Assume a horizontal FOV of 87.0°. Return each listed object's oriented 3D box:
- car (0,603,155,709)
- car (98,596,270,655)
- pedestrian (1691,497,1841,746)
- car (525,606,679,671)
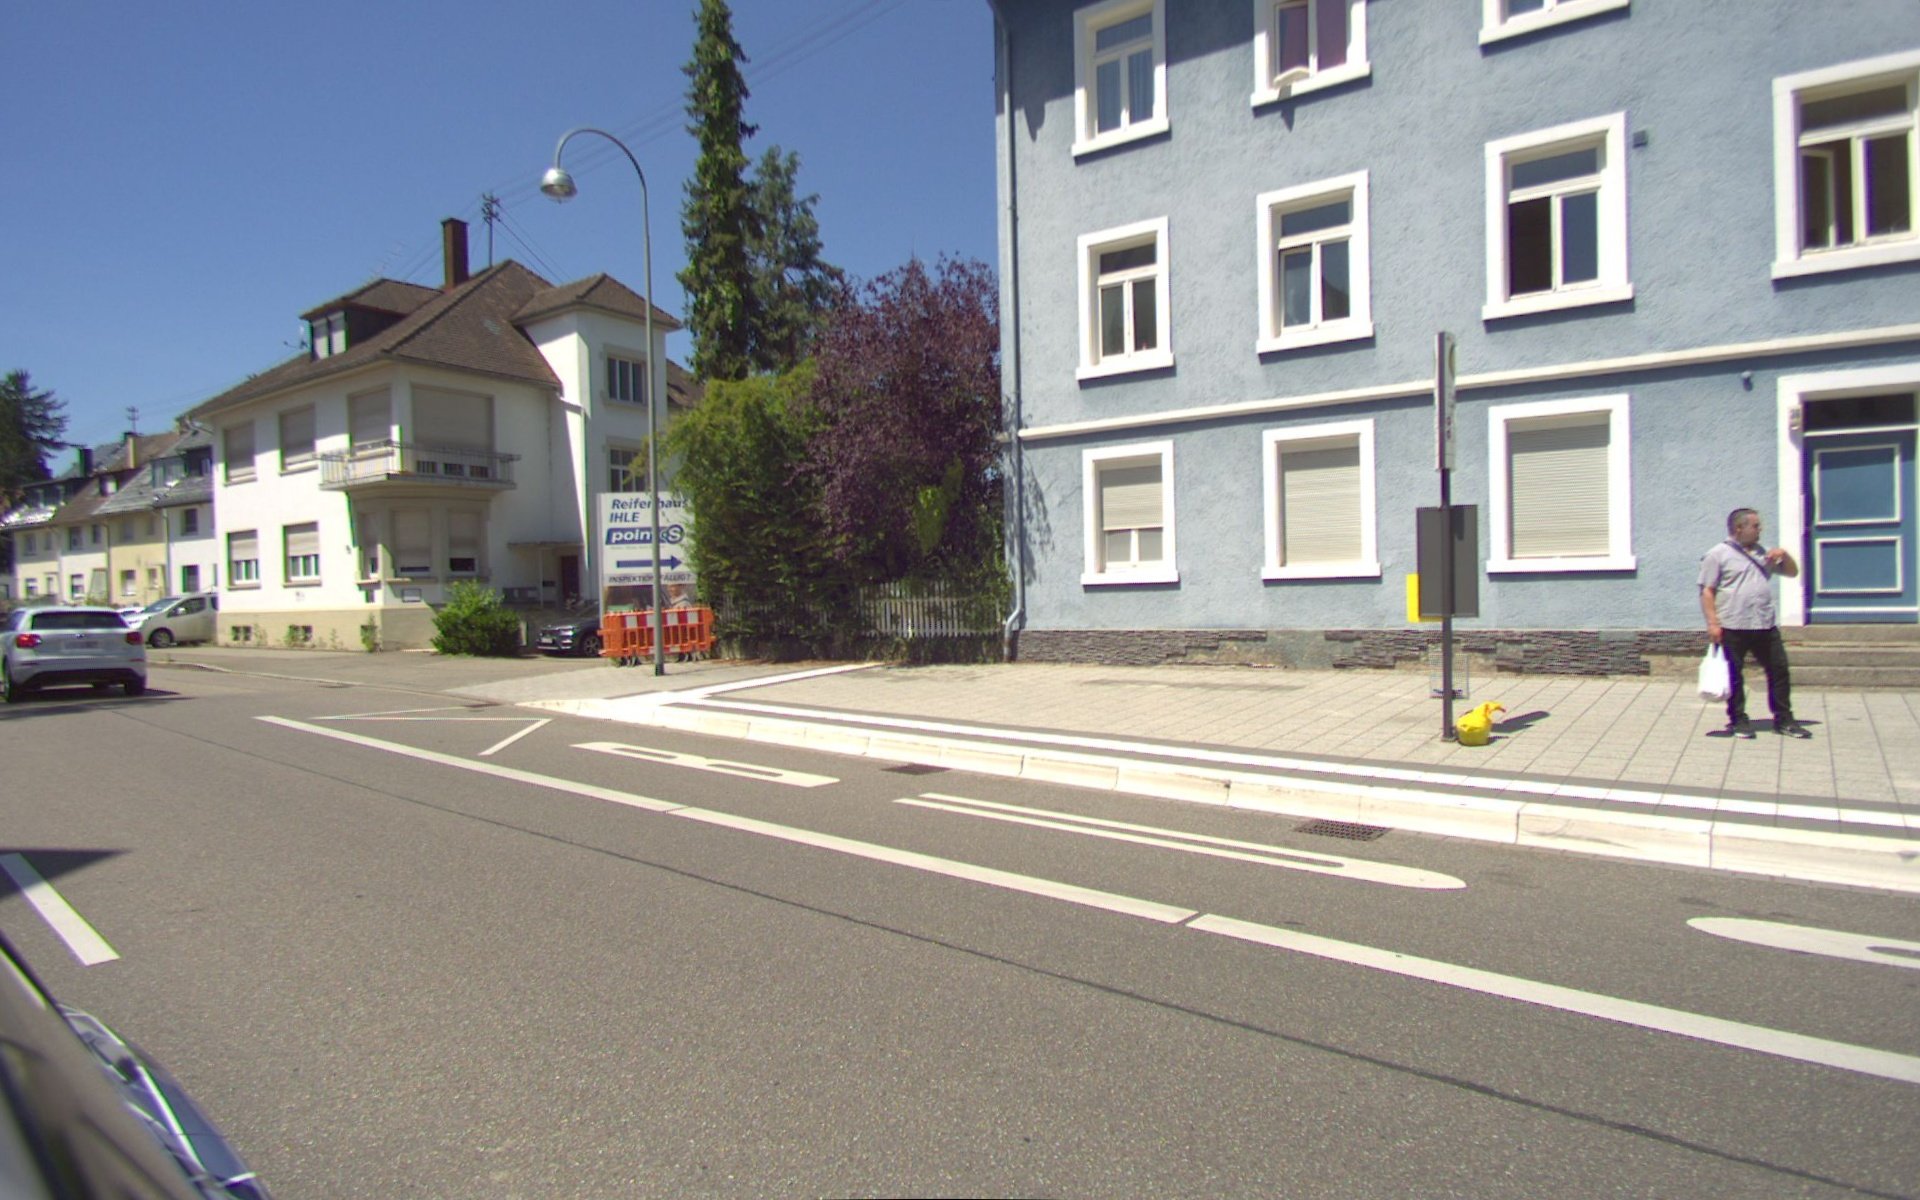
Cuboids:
[{"bbox_3d":[-15.430,0.862,17.312,3.946,1.541,1.803,0,1,39],"label":"car"},{"bbox_3d":[-26.502,0.893,34.724,1.841,1.891,4.325,-2,-2,27],"label":"car"},{"bbox_3d":[6.393,0.159,8.071,0.769,1.861,0.750,-3,2,32],"label":"pedestrian"},{"bbox_3d":[-10.106,1.055,28.801,1.561,1.551,3.887,-7,-3,35],"label":"car"}]
